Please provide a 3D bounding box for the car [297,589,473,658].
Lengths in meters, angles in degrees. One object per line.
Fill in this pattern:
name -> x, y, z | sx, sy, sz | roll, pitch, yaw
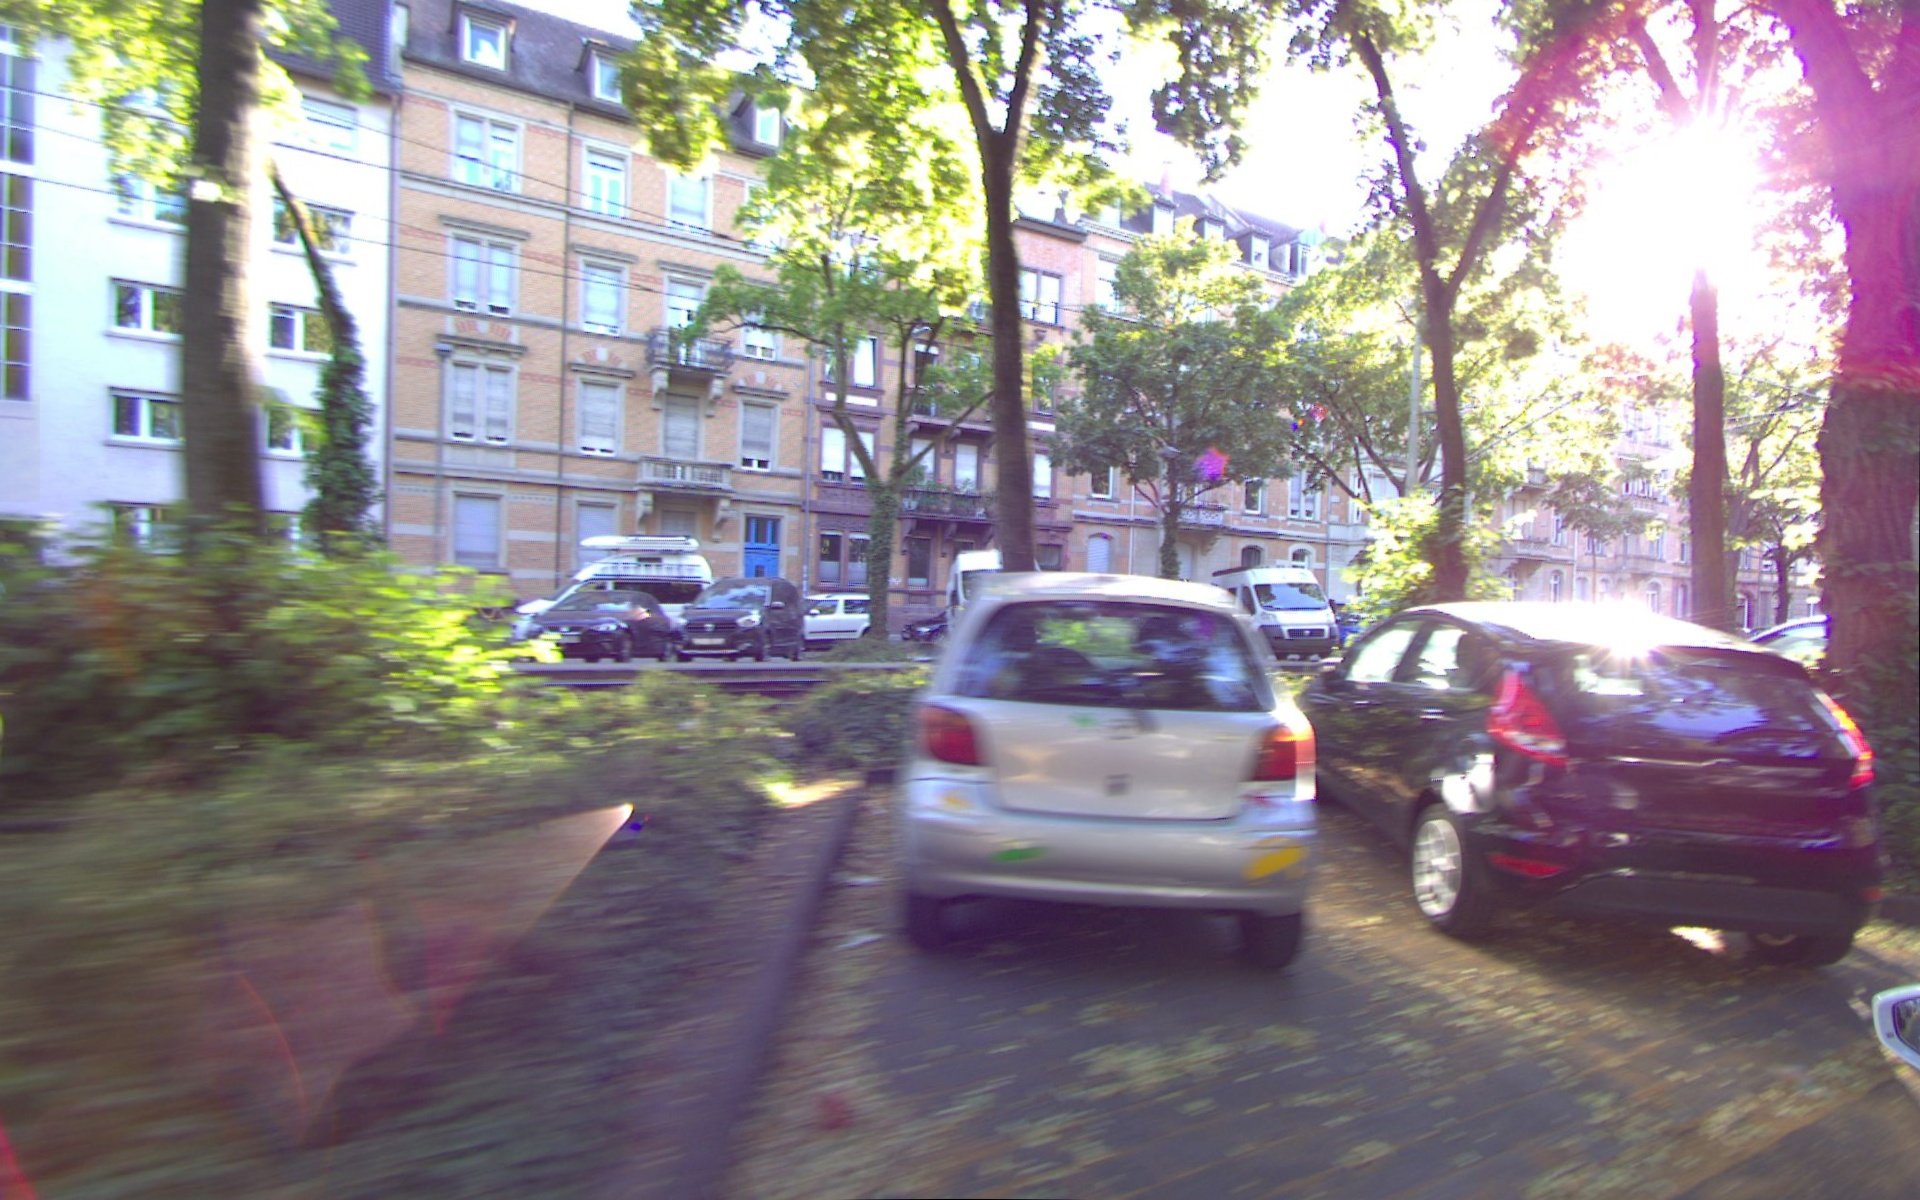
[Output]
car -> -13.481, 0.526, 23.678 | 3.467, 1.423, 1.841 | 1, 3, -31

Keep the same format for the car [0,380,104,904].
car -> -4.671, 0.191, 1.819 | 2.005, 2.004, 4.885 | 3, 2, 0

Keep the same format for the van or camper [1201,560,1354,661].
van or camper -> 8.375, 0.297, 27.153 | 2.262, 2.402, 5.552 | 1, -1, -1

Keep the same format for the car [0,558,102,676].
car -> -14.462, 0.223, 13.833 | 1.703, 1.669, 4.002 | 1, -1, 3

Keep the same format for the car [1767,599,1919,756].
car -> 11.062, 0.919, 10.399 | 1.896, 1.561, 4.572 | 3, 3, 5

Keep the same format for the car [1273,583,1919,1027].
car -> 3.112, 0.727, 5.611 | 1.789, 1.458, 3.826 | 3, 3, 6

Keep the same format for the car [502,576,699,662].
car -> -6.524, 0.435, 18.831 | 1.868, 1.402, 4.327 | 1, -3, 4

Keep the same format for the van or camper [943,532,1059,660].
van or camper -> 0.770, -0.032, 22.683 | 1.962, 2.501, 5.674 | 1, -1, -4

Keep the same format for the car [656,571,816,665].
car -> -4.243, 0.345, 19.765 | 1.868, 1.603, 4.326 | 1, -1, 4

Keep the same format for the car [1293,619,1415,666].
car -> 11.173, 1.175, 28.822 | 1.791, 1.112, 4.167 | 2, 0, -1

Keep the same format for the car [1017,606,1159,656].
car -> 4.376, 1.018, 34.212 | 4.606, 1.493, 1.841 | 1, 3, -31

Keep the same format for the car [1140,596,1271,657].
car -> 9.024, 0.936, 36.820 | 4.606, 2.032, 1.841 | 1, 3, -31

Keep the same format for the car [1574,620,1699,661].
car -> 24.920, 1.467, 37.160 | 1.564, 1.335, 3.994 | 2, 0, -8

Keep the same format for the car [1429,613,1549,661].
car -> 16.649, 1.117, 31.861 | 1.604, 1.327, 4.189 | 2, 0, 1

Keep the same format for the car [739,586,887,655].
car -> -4.279, 0.567, 29.311 | 3.871, 1.807, 1.841 | 1, 3, -31

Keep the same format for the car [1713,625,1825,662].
car -> 34.621, 1.835, 43.121 | 1.674, 1.399, 3.738 | 2, 0, -2

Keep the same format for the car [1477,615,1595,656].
car -> 19.101, 1.146, 33.504 | 1.470, 1.183, 4.204 | 2, 0, 0

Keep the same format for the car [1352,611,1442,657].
car -> 18.842, 1.436, 43.313 | 3.467, 1.807, 1.841 | 1, 3, -31

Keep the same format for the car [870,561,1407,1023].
car -> 0.639, 0.612, 5.292 | 1.789, 1.513, 3.550 | 3, 3, 1

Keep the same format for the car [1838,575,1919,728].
car -> 13.356, 0.776, 11.901 | 1.896, 1.969, 4.714 | 3, 3, 5

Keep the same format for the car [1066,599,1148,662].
car -> 3.559, 0.727, 24.978 | 1.695, 1.380, 4.326 | 1, -1, 4

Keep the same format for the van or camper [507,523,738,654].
van or camper -> -8.888, -0.224, 26.616 | 5.450, 3.150, 2.064 | 2, 0, -31

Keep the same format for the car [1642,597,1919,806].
car -> 8.512, 0.859, 9.239 | 1.748, 1.508, 4.094 | 3, 3, 3
